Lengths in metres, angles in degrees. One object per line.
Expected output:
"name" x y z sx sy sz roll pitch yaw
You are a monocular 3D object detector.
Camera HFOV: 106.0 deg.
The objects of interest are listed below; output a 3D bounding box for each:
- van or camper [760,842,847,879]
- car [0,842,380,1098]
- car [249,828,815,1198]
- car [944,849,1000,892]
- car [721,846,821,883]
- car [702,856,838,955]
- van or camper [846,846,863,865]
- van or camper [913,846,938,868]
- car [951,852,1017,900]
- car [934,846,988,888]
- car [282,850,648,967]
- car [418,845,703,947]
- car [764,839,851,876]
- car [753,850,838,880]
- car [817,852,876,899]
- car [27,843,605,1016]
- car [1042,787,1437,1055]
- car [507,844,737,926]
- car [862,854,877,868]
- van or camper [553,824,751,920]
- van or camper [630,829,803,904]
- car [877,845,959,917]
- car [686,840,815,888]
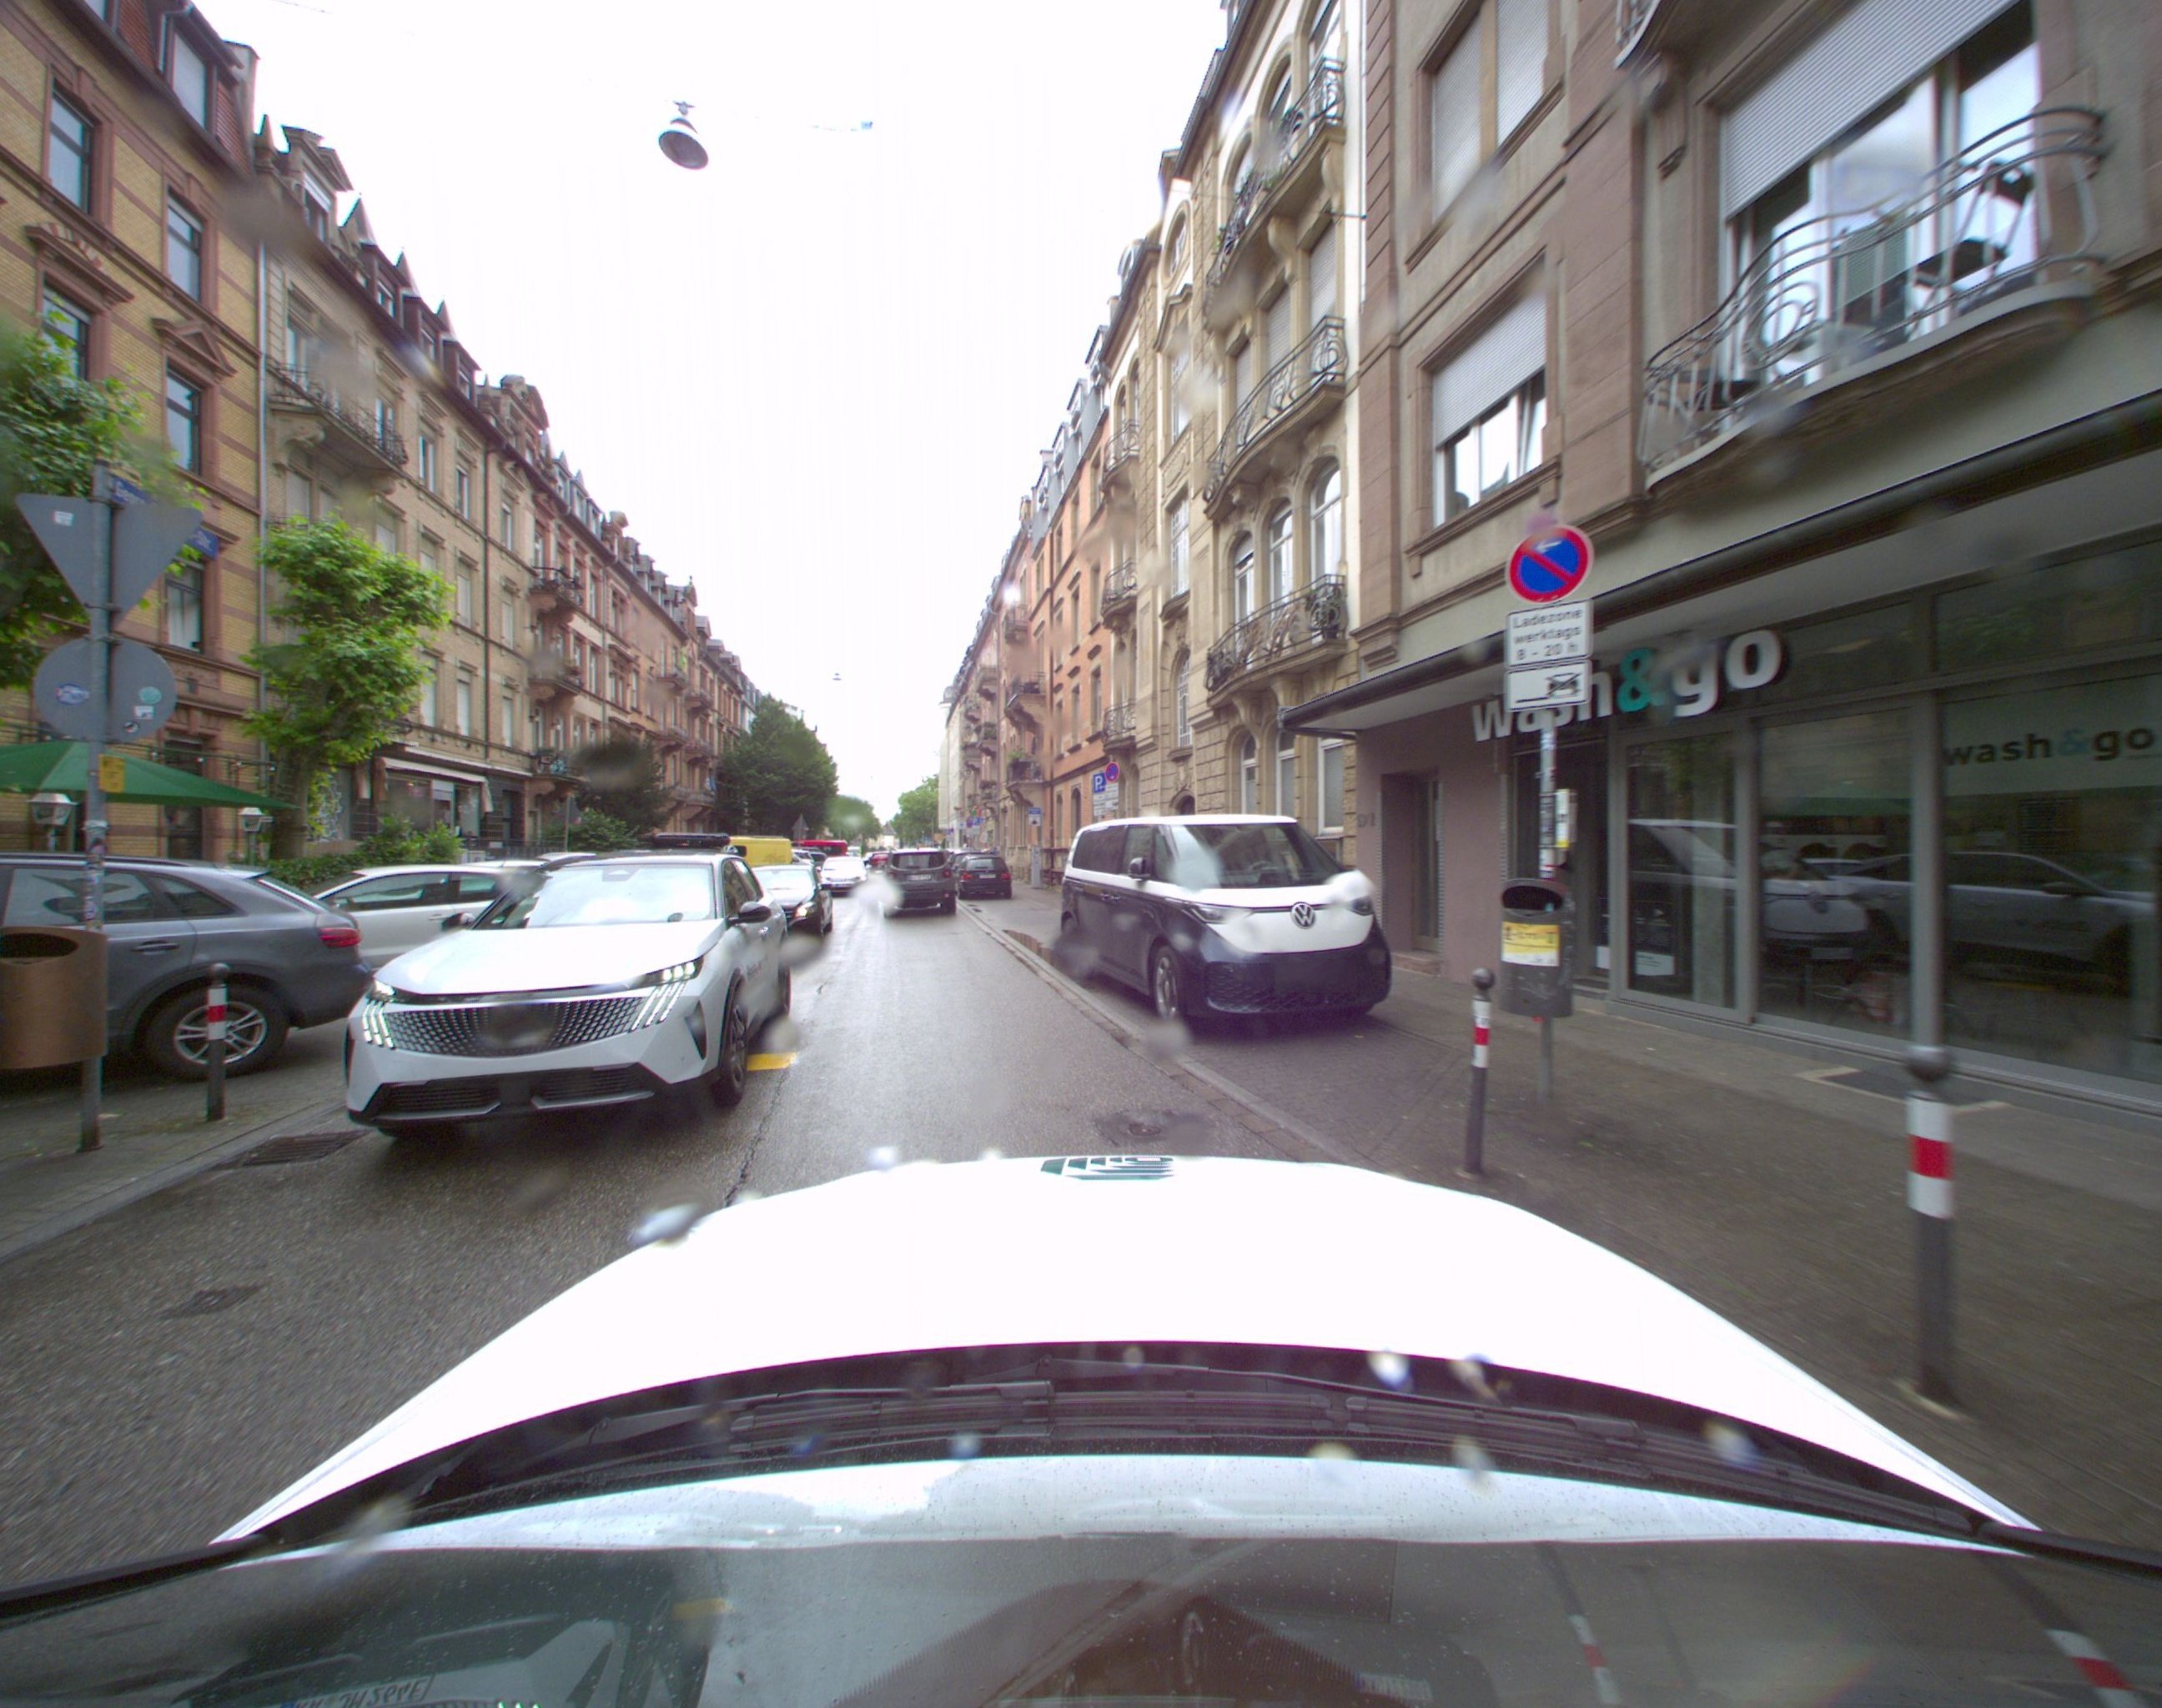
"van or camper" -18.562 0.401 54.658 5.051 2.349 2.317 0 0 -40
"car" -7.682 0.717 5.267 1.974 1.563 4.485 -2 -3 40
"car" -3.378 0.715 6.373 1.860 1.660 4.988 -1 0 -12
"car" -4.457 0.597 32.820 1.873 1.561 4.326 -2 0 -12
"car" -16.354 0.572 43.258 4.585 1.785 2.533 2 0 -14
"car" -5.611 0.870 15.175 1.798 1.494 4.118 -2 -1 -14
"van or camper" -34.771 0.253 125.192 2.124 2.531 6.842 -4 -1 -13
"van or camper" -14.562 0.274 76.129 2.024 1.891 5.031 -2 1 -13
"car" -3.379 0.686 27.726 1.788 1.466 4.464 -1 0 -12
"car" -5.638 0.558 37.787 1.997 1.779 4.803 -1 0 -14
"car" -9.244 0.788 12.520 1.778 1.494 4.163 -1 -3 41
"car" -9.728 0.766 15.499 1.778 1.662 4.163 0 -2 40
"car" -20.001 0.233 59.714 5.603 2.541 2.203 0 0 -41
"car" -17.290 0.669 49.410 4.467 1.631 1.823 3 -1 -40
"car" -9.047 0.787 31.711 1.797 1.493 4.564 3 1 -12
"car" -8.803 0.749 9.932 1.975 1.563 4.753 2 0 43
"car" 1.163 0.476 8.736 1.998 1.939 5.202 -2 0 -16
"car" -10.324 0.714 18.593 1.778 1.662 4.163 -1 -3 40
"car" -24.805 0.767 95.367 1.673 1.559 3.982 -1 0 -15
"van or camper" -11.057 0.505 21.203 1.913 2.240 4.108 -1 -3 44
"van or camper" -12.040 0.403 27.131 2.158 2.268 4.754 2 0 44
"car" -4.442 0.639 21.673 1.902 1.670 4.484 -1 0 -14
"car" -15.320 0.457 37.920 5.278 2.078 1.849 0 -1 -38
